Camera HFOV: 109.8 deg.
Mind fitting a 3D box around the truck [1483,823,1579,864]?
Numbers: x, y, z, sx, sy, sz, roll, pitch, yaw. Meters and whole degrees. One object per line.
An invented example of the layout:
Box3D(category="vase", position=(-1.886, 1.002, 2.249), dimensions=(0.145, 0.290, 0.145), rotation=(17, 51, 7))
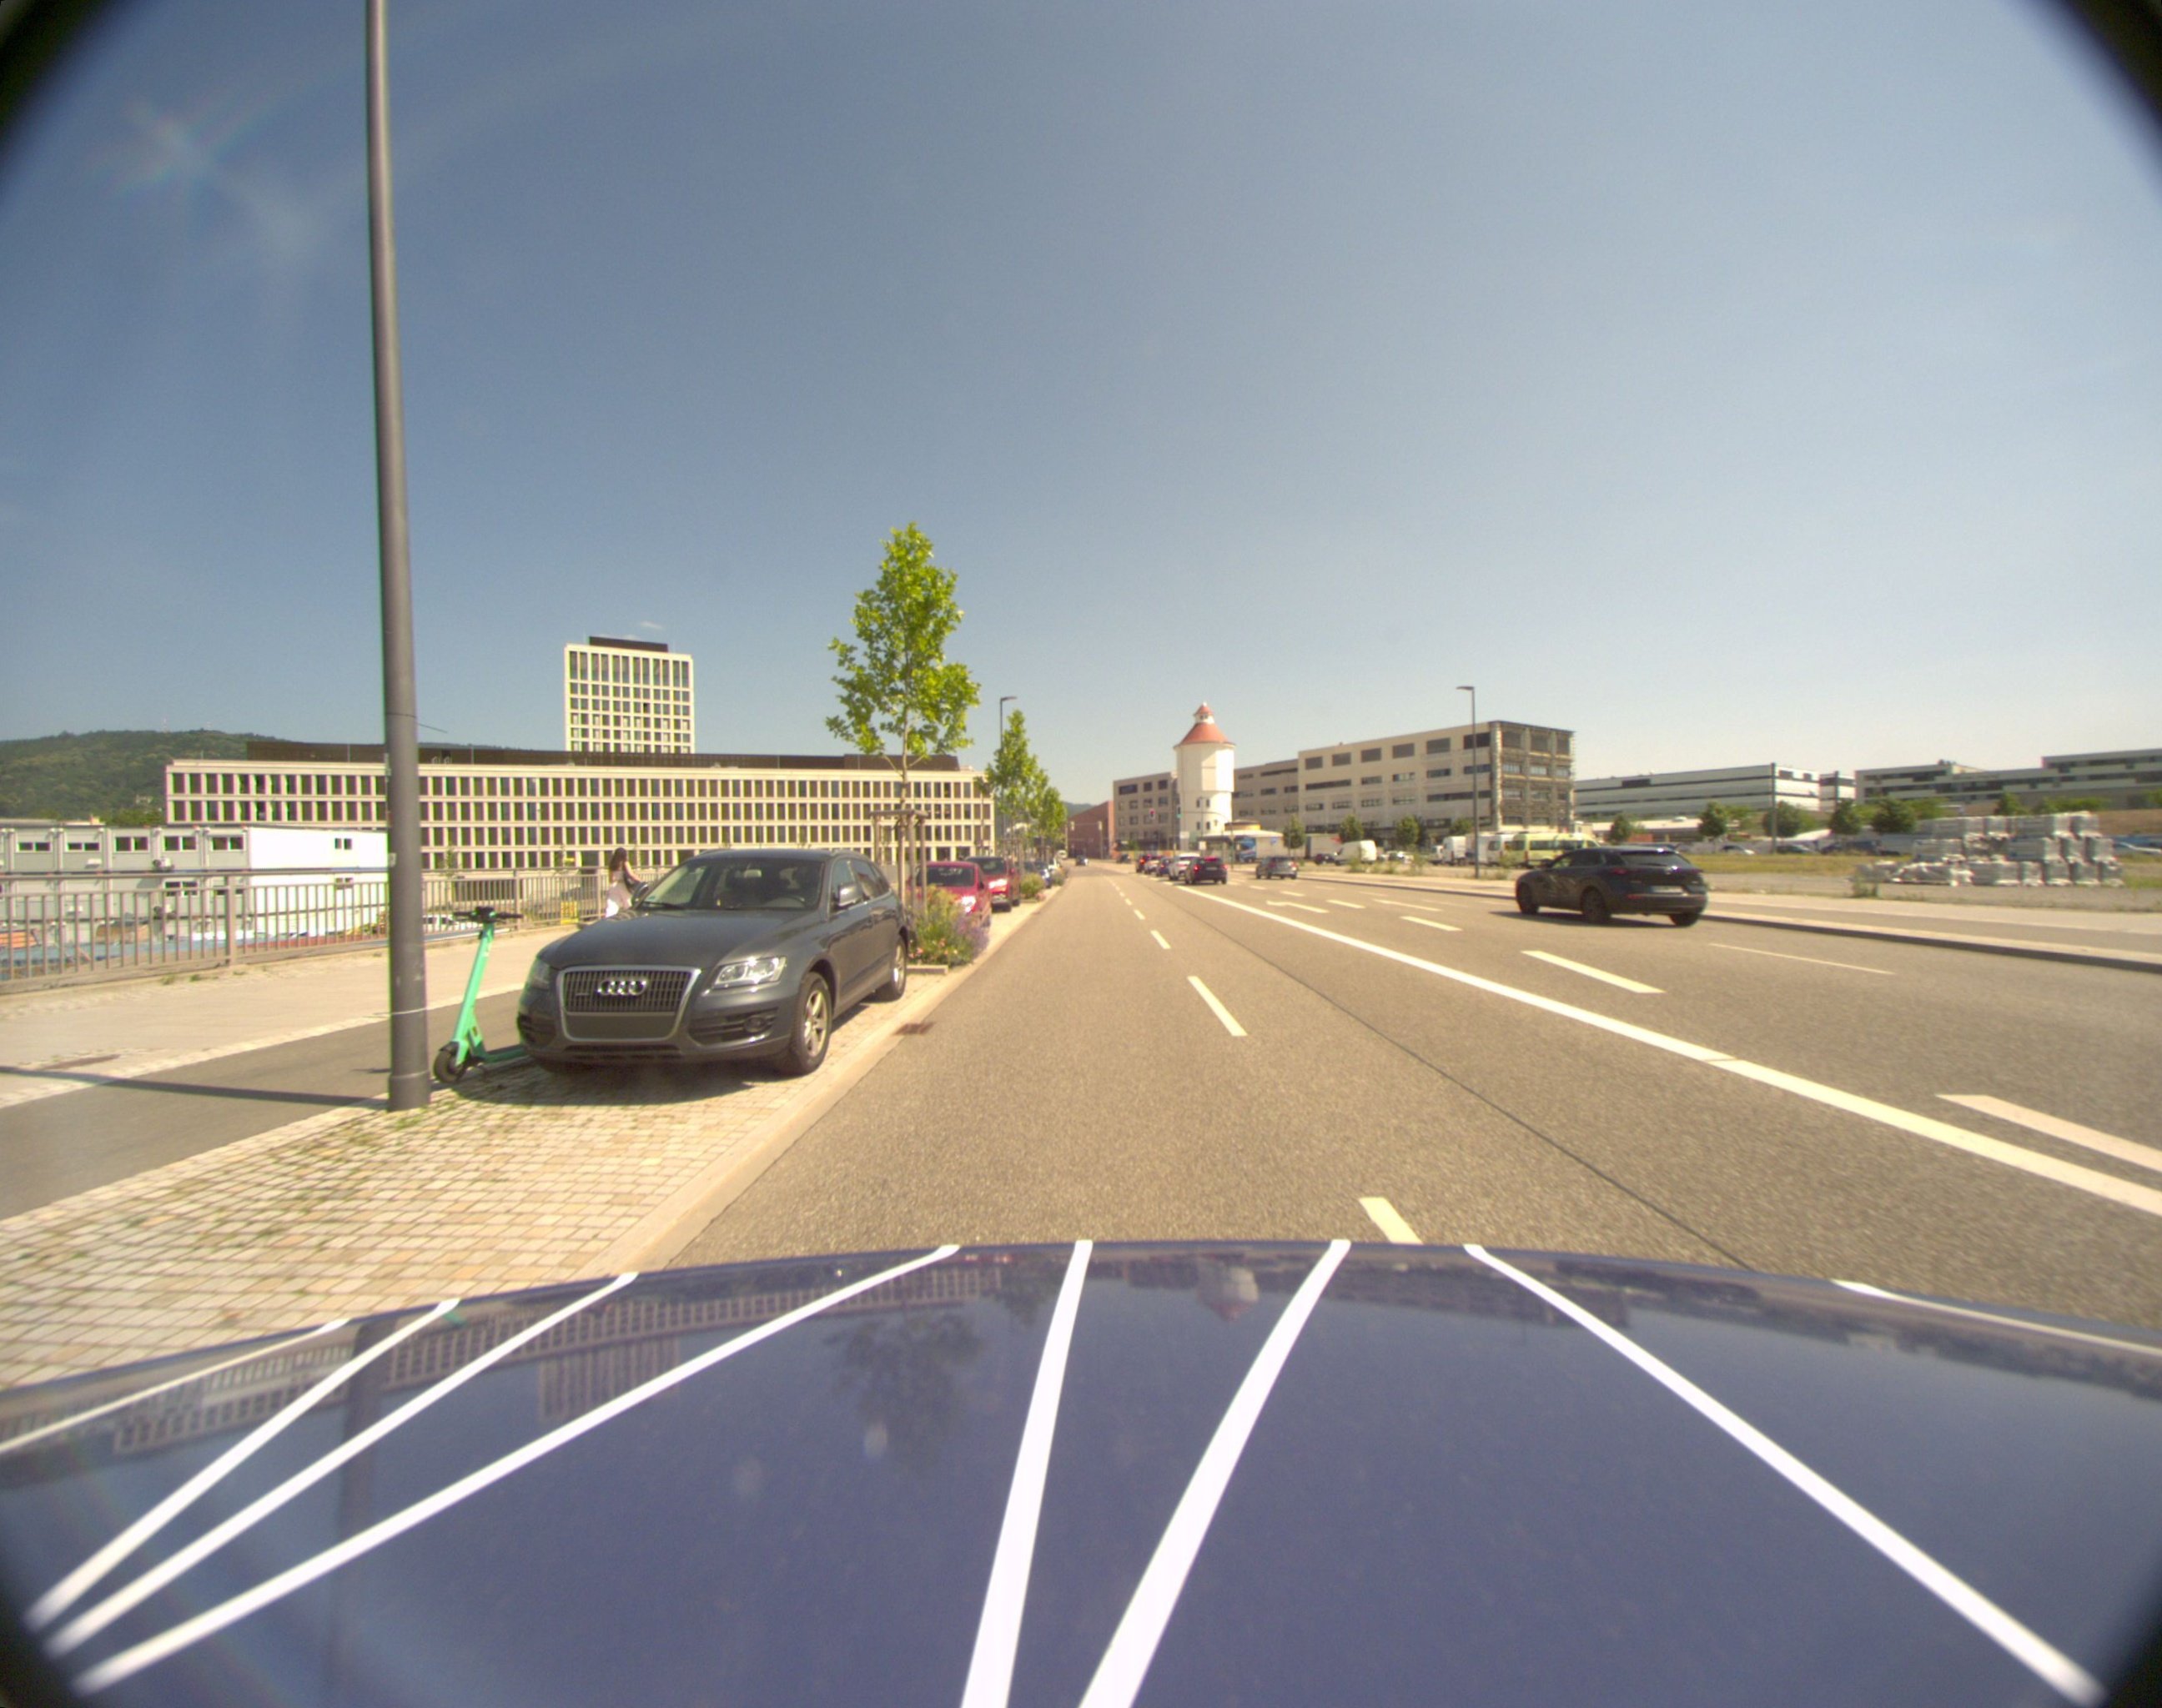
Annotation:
Box3D(category="truck", position=(34.861, -0.866, 58.987), dimensions=(5.850, 2.809, 2.569), rotation=(-3, 2, 0))

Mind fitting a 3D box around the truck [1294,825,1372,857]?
Box3D(category="truck", position=(38.747, -2.042, 116.783), dimensions=(10.950, 4.251, 3.341), rotation=(-3, 2, -10))

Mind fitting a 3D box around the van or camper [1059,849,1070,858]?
Box3D(category="van or camper", position=(-4.218, -0.121, 192.879), dimensions=(2.159, 2.400, 5.678), rotation=(-1, 0, -6))

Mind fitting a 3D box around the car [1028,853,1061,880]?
Box3D(category="car", position=(-2.319, 0.756, 49.647), dimensions=(1.877, 1.618, 4.876), rotation=(-1, 0, 0))

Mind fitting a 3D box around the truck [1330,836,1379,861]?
Box3D(category="truck", position=(30.303, -0.665, 84.298), dimensions=(2.174, 2.640, 5.937), rotation=(-1, 1, -14))

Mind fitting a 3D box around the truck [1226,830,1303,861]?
Box3D(category="truck", position=(27.610, -1.384, 114.087), dimensions=(10.987, 4.045, 3.297), rotation=(-3, 2, -17))

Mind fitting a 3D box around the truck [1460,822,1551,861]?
Box3D(category="truck", position=(35.615, -1.088, 63.887), dimensions=(6.160, 2.885, 2.570), rotation=(-3, 2, 2))

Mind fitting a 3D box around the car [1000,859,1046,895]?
Box3D(category="car", position=(-2.521, 0.990, 33.878), dimensions=(1.624, 1.470, 3.824), rotation=(-1, 0, 2))

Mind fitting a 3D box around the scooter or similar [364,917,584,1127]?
Box3D(category="scooter or similar", position=(-4.163, 1.091, 5.324), dimensions=(0.489, 1.187, 1.261), rotation=(-1, 1, 1))

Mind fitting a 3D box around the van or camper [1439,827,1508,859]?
Box3D(category="van or camper", position=(35.160, -0.961, 68.146), dimensions=(4.912, 2.646, 2.260), rotation=(-2, 1, 1))

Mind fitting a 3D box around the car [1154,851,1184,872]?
Box3D(category="car", position=(6.514, 0.544, 56.541), dimensions=(1.790, 1.413, 4.282), rotation=(-3, 0, 1))

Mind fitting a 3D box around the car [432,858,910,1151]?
Box3D(category="car", position=(-2.775, 0.861, 6.391), dimensions=(1.739, 1.599, 4.240), rotation=(0, 0, 0))

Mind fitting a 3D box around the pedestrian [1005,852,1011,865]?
Box3D(category="pedestrian", position=(-11.131, 0.664, 116.035), dimensions=(0.880, 1.816, 1.664), rotation=(-4, 1, -6))

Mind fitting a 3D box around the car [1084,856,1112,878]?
Box3D(category="car", position=(1.288, 0.960, 58.501), dimensions=(1.998, 1.510, 4.000), rotation=(-2, 0, 1))

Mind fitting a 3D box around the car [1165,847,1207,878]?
Box3D(category="car", position=(6.410, 0.479, 46.961), dimensions=(1.918, 1.640, 4.730), rotation=(-4, 1, 1))

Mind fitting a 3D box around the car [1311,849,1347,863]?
Box3D(category="car", position=(32.390, 0.217, 99.291), dimensions=(4.001, 1.630, 1.878), rotation=(-2, 1, -12))

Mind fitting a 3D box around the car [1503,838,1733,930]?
Box3D(category="car", position=(10.750, 0.517, 15.694), dimensions=(1.906, 1.618, 4.388), rotation=(-1, 0, 5))

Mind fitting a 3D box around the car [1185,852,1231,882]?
Box3D(category="car", position=(6.510, 0.626, 39.394), dimensions=(1.791, 1.390, 4.572), rotation=(-1, 0, 2))

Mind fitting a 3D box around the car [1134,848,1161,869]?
Box3D(category="car", position=(6.334, 0.417, 72.551), dimensions=(1.944, 1.778, 4.654), rotation=(-3, 0, -1))

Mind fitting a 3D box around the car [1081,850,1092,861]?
Box3D(category="car", position=(0.855, 0.236, 117.275), dimensions=(1.783, 1.552, 3.831), rotation=(-1, 1, 0))

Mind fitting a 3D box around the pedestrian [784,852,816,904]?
Box3D(category="pedestrian", position=(-9.558, 0.820, 25.887), dimensions=(0.733, 1.696, 0.651), rotation=(-3, 2, 2))

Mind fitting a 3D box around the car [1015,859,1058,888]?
Box3D(category="car", position=(-2.315, 1.006, 40.713), dimensions=(1.913, 1.470, 4.158), rotation=(-1, 0, 2))

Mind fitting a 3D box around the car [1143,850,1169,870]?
Box3D(category="car", position=(6.347, 0.507, 64.664), dimensions=(1.783, 1.672, 4.098), rotation=(0, 0, 0))

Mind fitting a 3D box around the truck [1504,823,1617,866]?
Box3D(category="truck", position=(35.247, -0.706, 56.023), dimensions=(6.653, 2.809, 2.602), rotation=(-2, 1, -2))

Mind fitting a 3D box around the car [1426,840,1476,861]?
Box3D(category="car", position=(34.915, -0.331, 71.670), dimensions=(3.876, 1.748, 1.657), rotation=(-2, 0, -3))

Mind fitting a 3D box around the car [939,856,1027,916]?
Box3D(category="car", position=(-2.878, 0.899, 23.293), dimensions=(1.913, 1.607, 4.549), rotation=(-1, 0, 2))

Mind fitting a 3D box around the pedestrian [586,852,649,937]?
Box3D(category="pedestrian", position=(-9.512, 0.809, 15.619), dimensions=(0.782, 1.695, 0.742), rotation=(-1, 1, 2))

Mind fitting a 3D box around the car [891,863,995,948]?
Box3D(category="car", position=(-2.739, 0.971, 15.795), dimensions=(1.608, 1.483, 3.817), rotation=(0, 0, -2))

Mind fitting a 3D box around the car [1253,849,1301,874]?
Box3D(category="car", position=(12.310, 0.457, 48.051), dimensions=(1.907, 1.487, 4.386), rotation=(-1, 0, 0))

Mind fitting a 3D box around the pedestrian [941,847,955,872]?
Box3D(category="pedestrian", position=(-8.821, 0.379, 50.374), dimensions=(0.752, 1.600, 0.949), rotation=(1, 1, 1))
